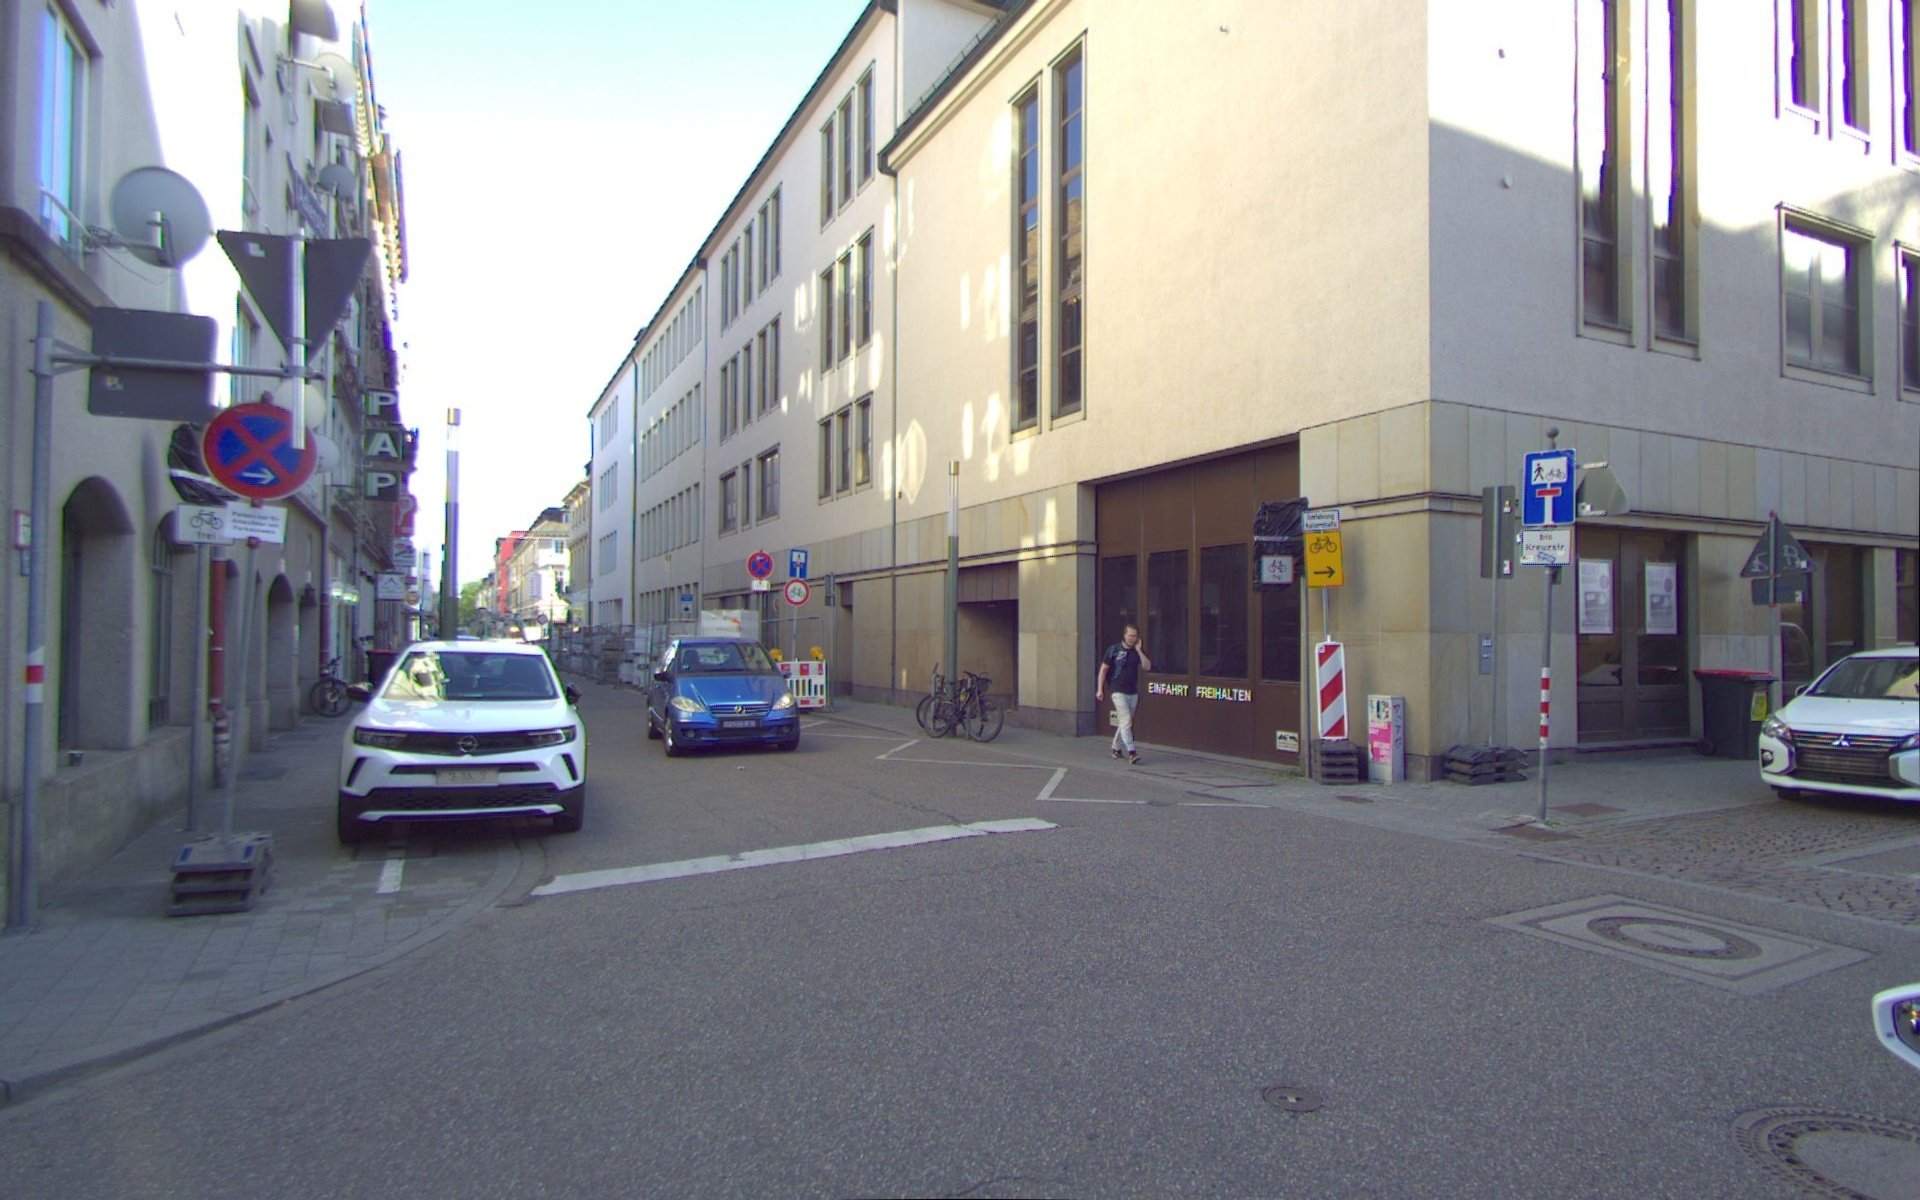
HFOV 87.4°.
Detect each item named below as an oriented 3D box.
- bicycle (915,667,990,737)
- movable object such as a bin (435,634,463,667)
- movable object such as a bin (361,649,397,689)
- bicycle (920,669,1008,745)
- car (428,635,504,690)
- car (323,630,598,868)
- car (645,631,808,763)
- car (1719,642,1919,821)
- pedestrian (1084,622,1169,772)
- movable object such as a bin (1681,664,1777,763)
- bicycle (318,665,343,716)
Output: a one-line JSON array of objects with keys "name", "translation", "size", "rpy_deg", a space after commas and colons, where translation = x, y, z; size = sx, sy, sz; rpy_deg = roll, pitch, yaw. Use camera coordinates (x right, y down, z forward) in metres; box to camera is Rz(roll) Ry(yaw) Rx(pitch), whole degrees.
[{"name": "bicycle", "translation": [-0.141, 1.676, 16.659], "size": [0.300, 1.064, 1.523], "rpy_deg": [1, -2, -43]}, {"name": "movable object such as a bin", "translation": [-24.286, 2.391, 47.714], "size": [1.071, 1.564, 0.901], "rpy_deg": [3, -3, -31]}, {"name": "movable object such as a bin", "translation": [-16.194, 1.906, 27.983], "size": [0.828, 1.062, 0.748], "rpy_deg": [2, 0, -33]}, {"name": "bicycle", "translation": [0.040, 1.656, 15.799], "size": [0.300, 1.064, 1.771], "rpy_deg": [1, -2, -40]}, {"name": "car", "translation": [-15.236, 1.881, 30.879], "size": [1.773, 1.545, 3.968], "rpy_deg": [3, -3, -30]}, {"name": "car", "translation": [-4.313, 1.109, 9.014], "size": [1.719, 1.614, 3.947], "rpy_deg": [2, -3, -24]}, {"name": "car", "translation": [-3.552, 1.298, 14.749], "size": [1.829, 1.614, 3.789], "rpy_deg": [-1, -2, -21]}, {"name": "car", "translation": [9.481, 1.179, 9.922], "size": [3.752, 1.511, 1.731], "rpy_deg": [1, -3, -28]}, {"name": "pedestrian", "translation": [2.189, 1.248, 13.197], "size": [0.710, 1.878, 0.852], "rpy_deg": [3, -4, -39]}, {"name": "movable object such as a bin", "translation": [9.409, 1.364, 12.298], "size": [0.583, 1.115, 0.734], "rpy_deg": [2, 0, -26]}, {"name": "bicycle", "translation": [-11.970, 1.703, 19.104], "size": [0.216, 0.869, 1.059], "rpy_deg": [2, 0, -22]}]
